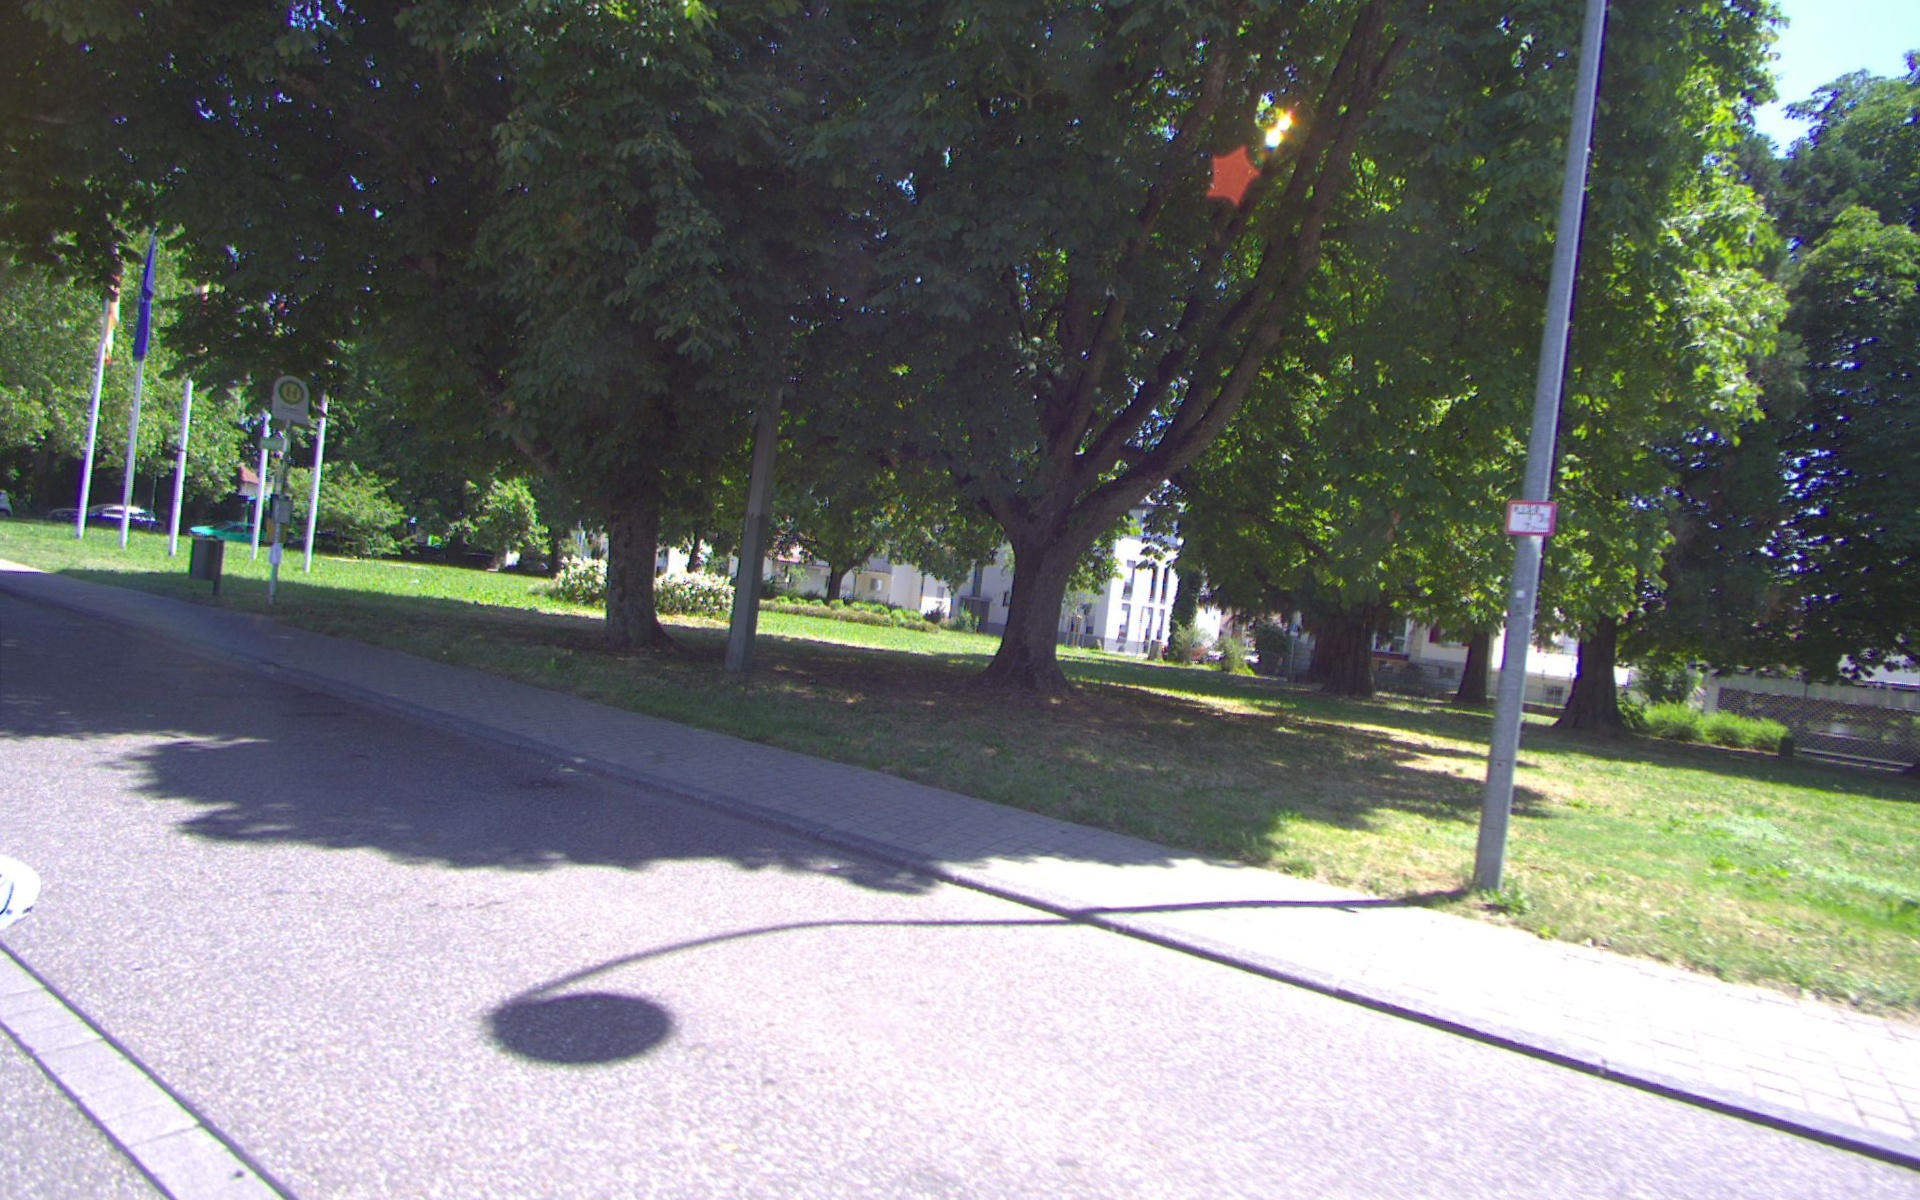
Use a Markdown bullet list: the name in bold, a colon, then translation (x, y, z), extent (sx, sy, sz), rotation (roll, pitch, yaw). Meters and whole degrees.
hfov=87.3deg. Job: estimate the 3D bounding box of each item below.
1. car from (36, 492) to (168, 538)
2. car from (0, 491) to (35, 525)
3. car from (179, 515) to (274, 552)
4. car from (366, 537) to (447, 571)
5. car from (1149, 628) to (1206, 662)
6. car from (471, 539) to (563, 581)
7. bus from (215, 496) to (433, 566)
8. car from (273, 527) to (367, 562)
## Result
- **car**: translation (-44.634, -4.389, 52.445), extent (1.969, 1.627, 4.824), rotation (7, 0, 36)
- **car**: translation (-47.540, -4.669, 48.369), extent (1.969, 1.484, 4.106), rotation (7, 0, 35)
- **car**: translation (-41.692, -3.789, 57.258), extent (1.968, 1.471, 3.885), rotation (5, -2, 34)
- **car**: translation (-36.093, -3.004, 65.682), extent (1.968, 1.627, 4.101), rotation (5, -2, 34)
- **car**: translation (14.557, 3.031, 67.329), extent (3.735, 1.981, 1.809), rotation (6, -1, -43)
- **car**: translation (-29.664, -2.665, 67.389), extent (5.226, 2.115, 1.981), rotation (7, -1, -35)
- **bus**: translation (-41.985, -4.437, 67.203), extent (2.231, 3.013, 12.392), rotation (6, -1, 32)
- **car**: translation (-39.025, -3.364, 61.431), extent (1.968, 1.433, 4.342), rotation (5, -2, 33)
